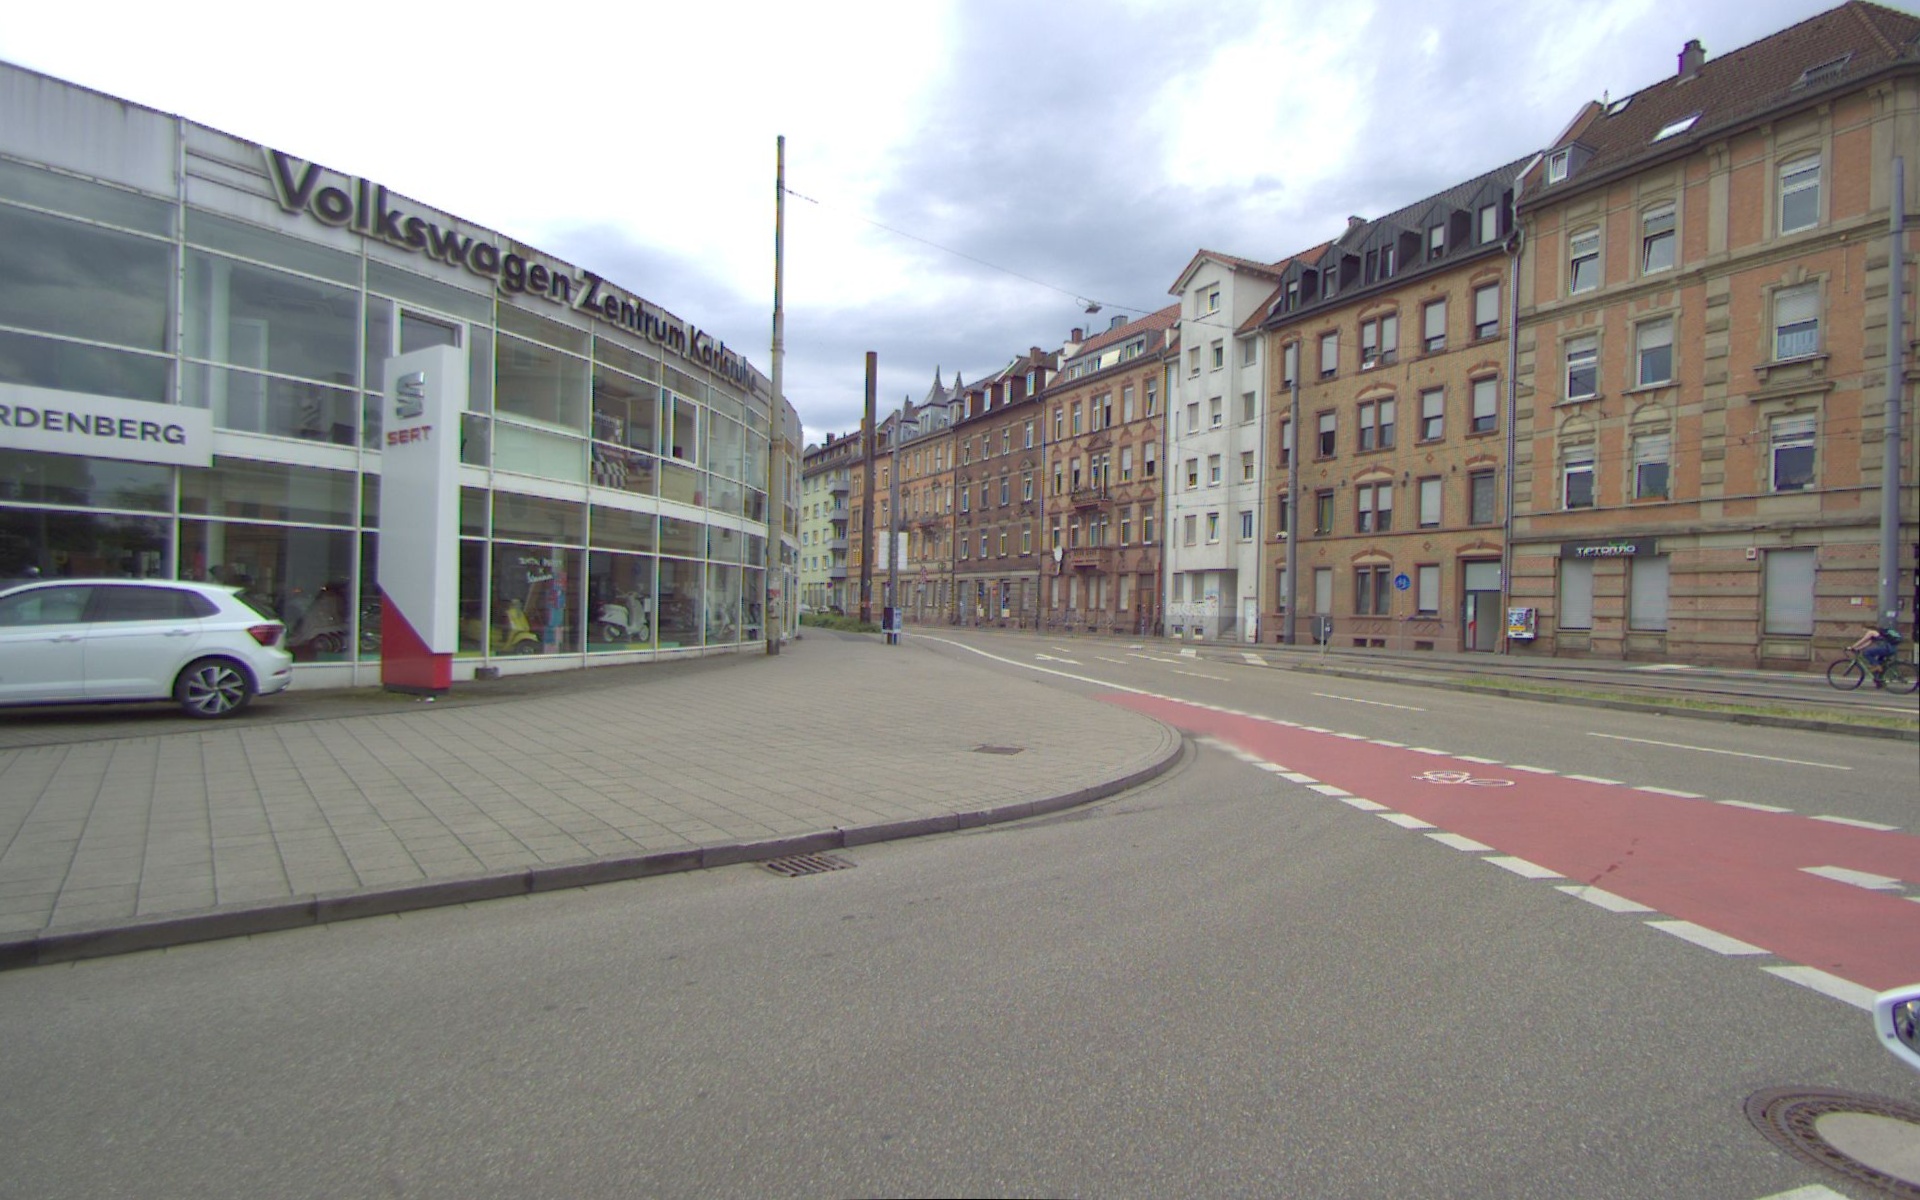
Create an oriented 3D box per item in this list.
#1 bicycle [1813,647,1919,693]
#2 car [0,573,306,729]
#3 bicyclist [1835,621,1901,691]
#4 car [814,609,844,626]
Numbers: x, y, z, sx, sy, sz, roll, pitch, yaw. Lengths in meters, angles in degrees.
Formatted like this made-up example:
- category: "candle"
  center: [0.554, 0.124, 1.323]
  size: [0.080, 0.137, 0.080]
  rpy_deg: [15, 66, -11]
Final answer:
- category: "bicycle"
  center: [20.474, 1.557, 22.718]
  size: [0.600, 0.927, 1.706]
  rpy_deg: [1, 0, -30]
- category: "car"
  center: [-9.299, 0.484, 10.348]
  size: [4.222, 1.472, 1.765]
  rpy_deg: [1, -1, -36]
- category: "bicyclist"
  center: [20.505, 1.248, 22.697]
  size: [0.655, 1.514, 0.935]
  rpy_deg: [1, 0, -29]
- category: "car"
  center: [-12.110, 1.616, 92.592]
  size: [1.828, 1.500, 3.806]
  rpy_deg: [1, 0, -23]
